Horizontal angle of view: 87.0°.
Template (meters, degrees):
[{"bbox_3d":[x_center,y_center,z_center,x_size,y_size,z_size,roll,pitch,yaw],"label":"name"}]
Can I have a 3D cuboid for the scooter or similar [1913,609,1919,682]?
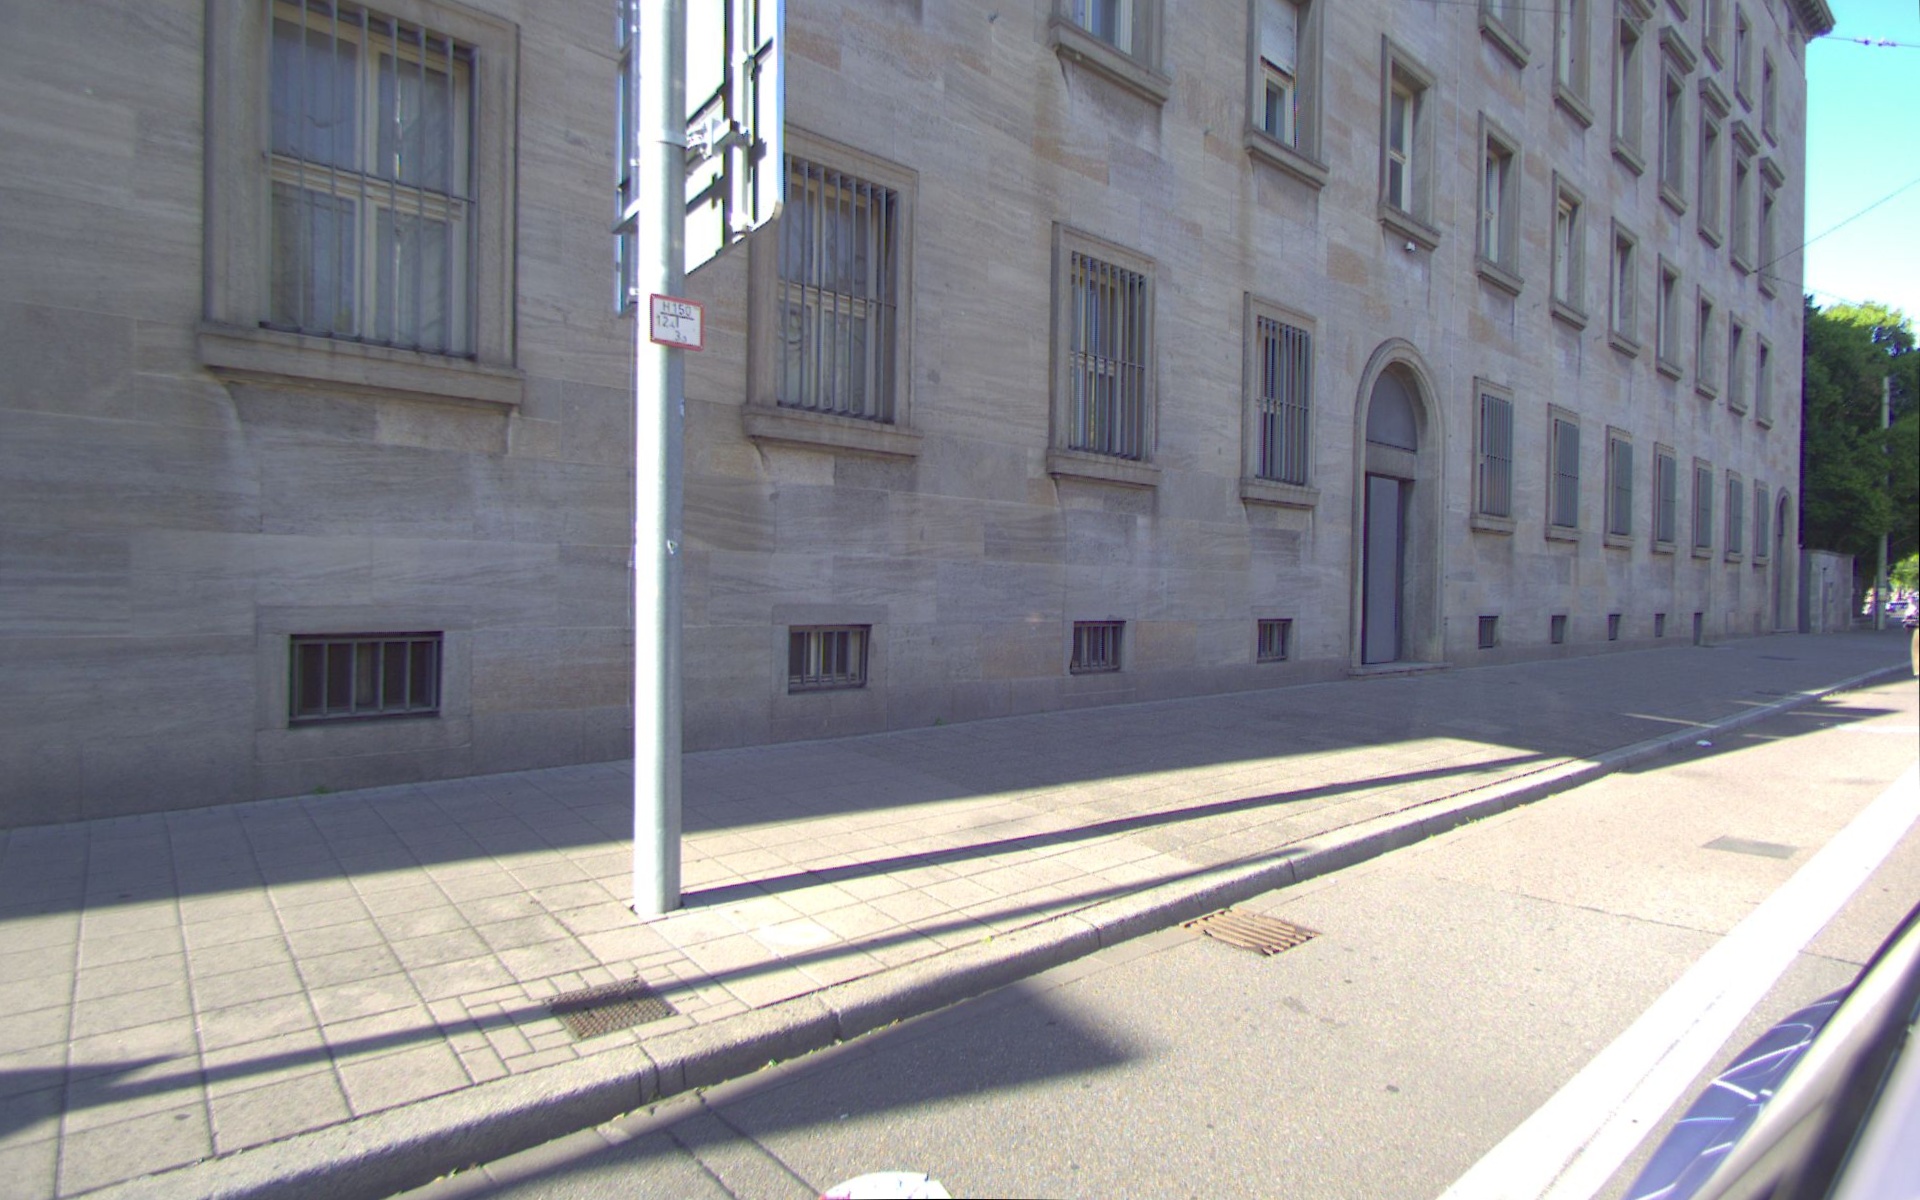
[{"bbox_3d":[16.552,0.761,17.093,1.305,1.200,0.535,0,1,-42],"label":"scooter or similar"}]

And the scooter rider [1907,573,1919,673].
[{"bbox_3d":[16.511,0.395,17.055,0.547,1.692,0.730,0,1,-42],"label":"scooter rider"}]
